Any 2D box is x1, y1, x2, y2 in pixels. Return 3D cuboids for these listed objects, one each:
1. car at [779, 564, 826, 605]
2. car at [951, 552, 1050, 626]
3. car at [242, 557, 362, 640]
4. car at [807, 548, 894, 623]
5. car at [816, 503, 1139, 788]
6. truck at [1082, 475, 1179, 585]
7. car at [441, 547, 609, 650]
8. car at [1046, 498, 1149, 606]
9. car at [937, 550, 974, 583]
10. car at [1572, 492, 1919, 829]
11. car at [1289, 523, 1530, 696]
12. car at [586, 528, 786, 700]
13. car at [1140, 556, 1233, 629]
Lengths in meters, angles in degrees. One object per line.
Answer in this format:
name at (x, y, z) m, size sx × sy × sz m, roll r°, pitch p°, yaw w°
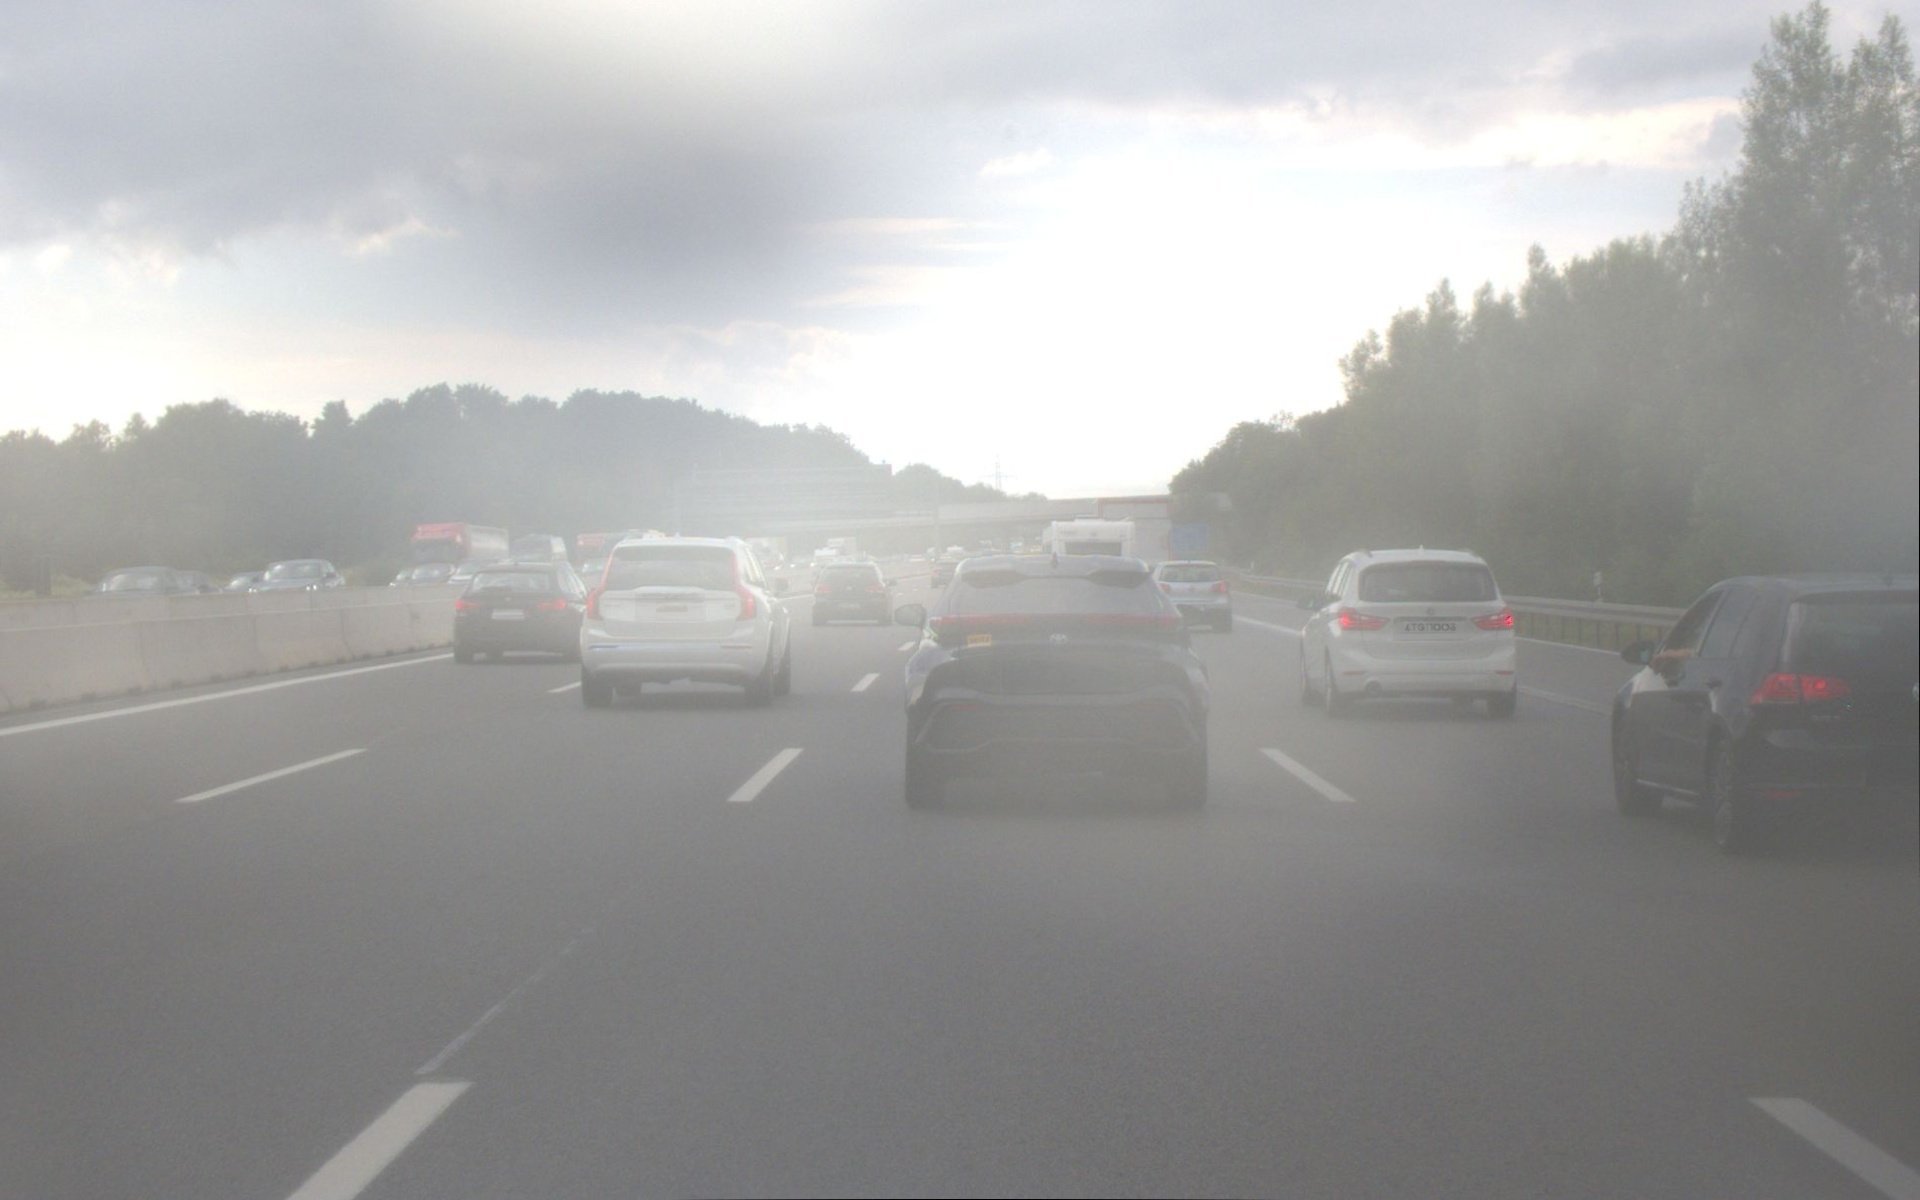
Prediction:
car at (-5.798, -0.572, 126.786) m, size 1.563 × 1.472 × 3.920 m, roll 0°, pitch 1°, yaw 0°
car at (0.831, -0.241, 68.112) m, size 1.885 × 1.402 × 4.282 m, roll 0°, pitch 1°, yaw 1°
car at (-16.360, -0.075, 85.678) m, size 1.993 × 2.007 × 5.182 m, roll 0°, pitch 1°, yaw 0°
car at (-2.500, -0.354, 79.339) m, size 1.881 × 1.680 × 4.000 m, roll 0°, pitch 1°, yaw 0°
car at (0.006, 0.231, 21.781) m, size 1.780 × 1.607 × 4.598 m, roll 0°, pitch 1°, yaw -3°
truck at (5.887, -2.403, 120.224) m, size 3.133 × 3.697 × 9.847 m, roll 0°, pitch 1°, yaw 1°
car at (-6.497, -0.049, 51.703) m, size 1.781 × 1.476 × 4.352 m, roll 0°, pitch 1°, yaw 3°
car at (3.797, -1.333, 96.230) m, size 2.567 × 2.885 × 7.534 m, roll 0°, pitch 1°, yaw 0°
car at (-0.249, -1.738, 176.437) m, size 1.881 × 1.680 × 4.000 m, roll 0°, pitch 1°, yaw 0°
car at (4.262, 0.266, 18.916) m, size 1.707 × 1.625 × 4.455 m, roll 0°, pitch 1°, yaw 9°
car at (4.369, 0.059, 34.041) m, size 1.810 × 1.593 × 4.696 m, roll 0°, pitch 1°, yaw 1°
car at (-2.839, 0.112, 36.454) m, size 1.781 × 1.710 × 4.353 m, roll 0°, pitch 1°, yaw 0°
car at (4.706, -0.176, 71.854) m, size 1.795 × 1.472 × 4.037 m, roll 0°, pitch 1°, yaw 2°
